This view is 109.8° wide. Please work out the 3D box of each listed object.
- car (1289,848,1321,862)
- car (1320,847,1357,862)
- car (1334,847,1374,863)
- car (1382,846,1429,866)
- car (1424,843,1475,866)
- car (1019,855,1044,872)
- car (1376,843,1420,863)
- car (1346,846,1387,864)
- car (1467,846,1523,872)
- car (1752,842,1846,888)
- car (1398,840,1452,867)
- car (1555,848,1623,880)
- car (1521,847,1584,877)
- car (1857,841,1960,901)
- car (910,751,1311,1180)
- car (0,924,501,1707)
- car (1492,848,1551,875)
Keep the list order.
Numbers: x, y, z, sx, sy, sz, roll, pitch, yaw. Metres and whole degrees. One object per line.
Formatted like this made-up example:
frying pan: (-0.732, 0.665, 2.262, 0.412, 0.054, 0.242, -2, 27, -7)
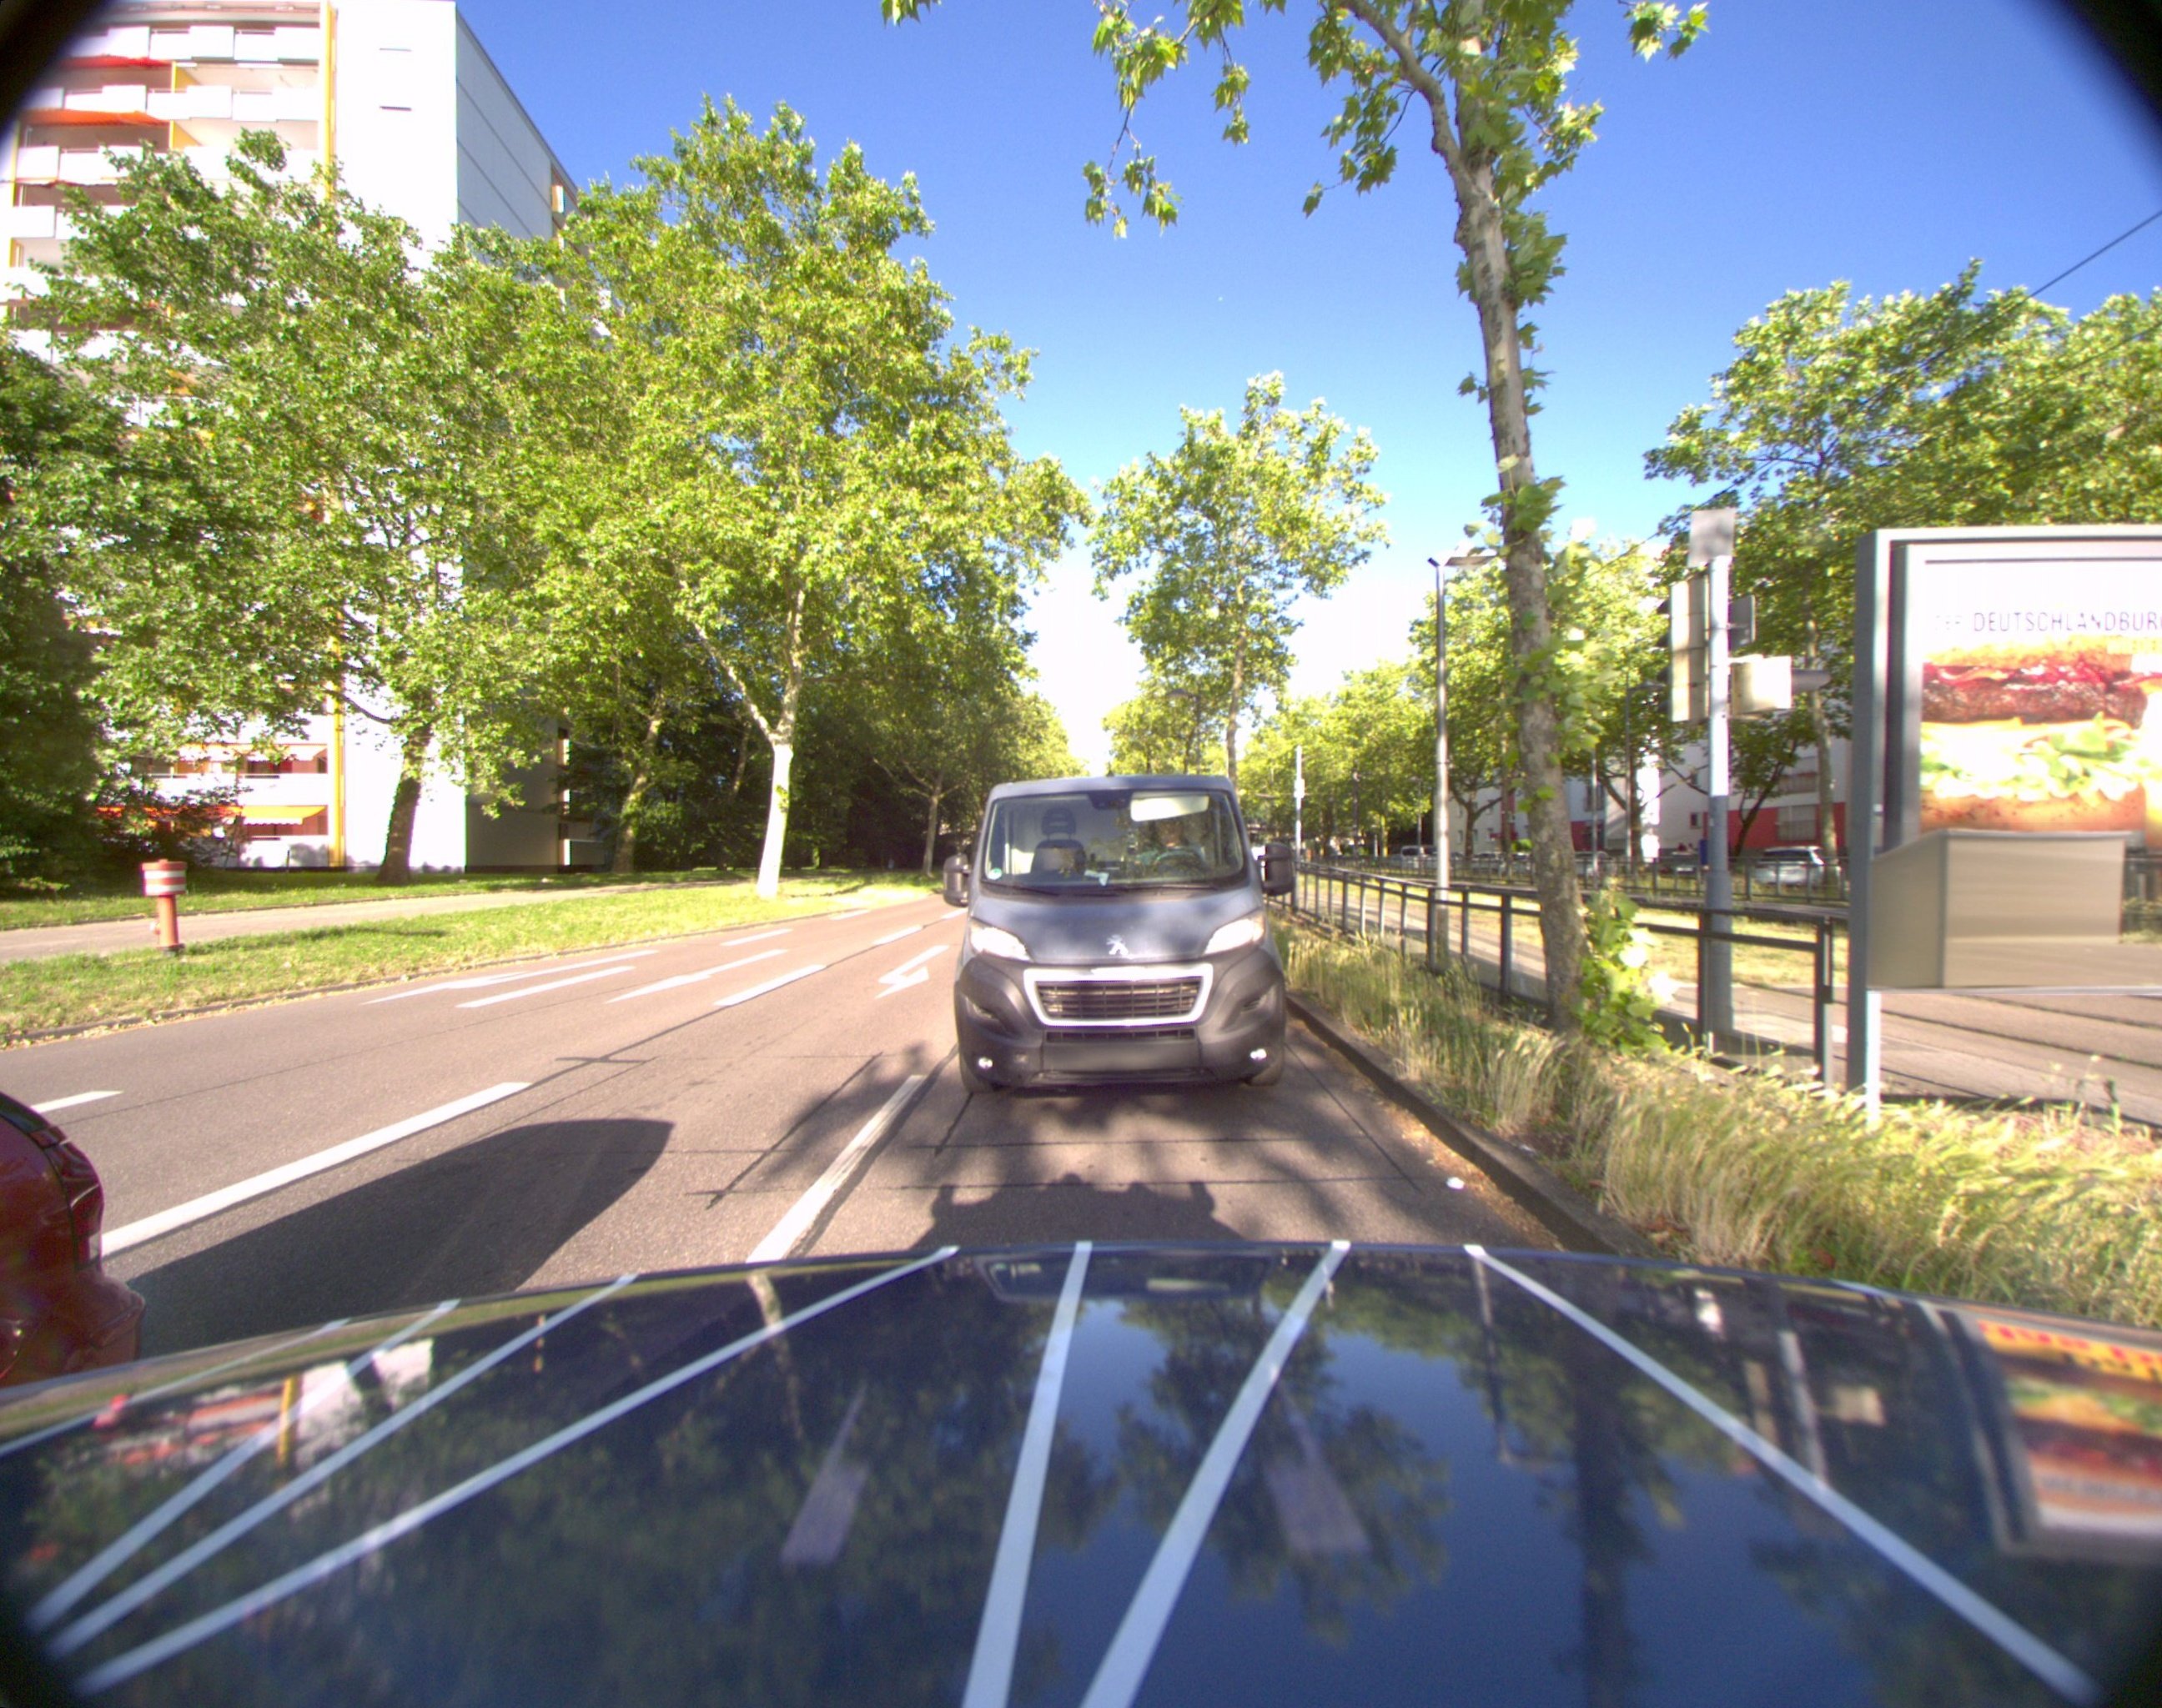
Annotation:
car: (26.571, 0.093, 90.089, 4.057, 1.490, 1.791, -1, 0, -41)
car: (26.929, 0.063, 79.360, 4.057, 1.490, 1.791, -1, 0, -41)
car: (26.157, 0.095, 72.701, 4.057, 1.490, 1.791, -1, 0, -41)
car: (25.808, 0.143, 60.386, 4.057, 1.490, 1.791, -1, 0, -41)
car: (26.290, 0.026, 54.153, 4.057, 1.490, 1.791, -1, 0, -41)
car: (-4.670, 0.855, 71.304, 1.915, 1.549, 4.723, -1, 0, -8)
car: (26.585, -0.088, 63.674, 4.057, 1.490, 1.791, -1, 0, -41)
car: (26.076, 0.098, 69.324, 4.057, 1.490, 1.791, -1, 0, -41)
car: (25.995, 0.319, 47.678, 4.057, 1.490, 1.791, -1, 0, -41)
car: (25.245, 0.360, 26.678, 4.057, 1.490, 1.791, -1, 0, -38)
car: (25.868, -0.065, 57.035, 4.441, 1.908, 2.016, -1, 0, -41)
car: (25.395, 0.475, 37.917, 4.057, 1.490, 1.791, -1, 0, -41)
car: (25.929, 0.431, 41.730, 4.057, 1.490, 1.791, -1, 0, -41)
car: (25.270, 0.482, 23.174, 4.057, 1.654, 1.791, -1, 0, -38)
car: (0.191, 0.566, 6.761, 2.040, 2.191, 5.661, -1, 0, 1)
car: (-2.986, 1.024, 0.282, 1.771, 1.549, 4.727, -1, 0, 2)
car: (26.077, 0.418, 44.927, 4.057, 1.490, 1.791, -1, 0, -41)
